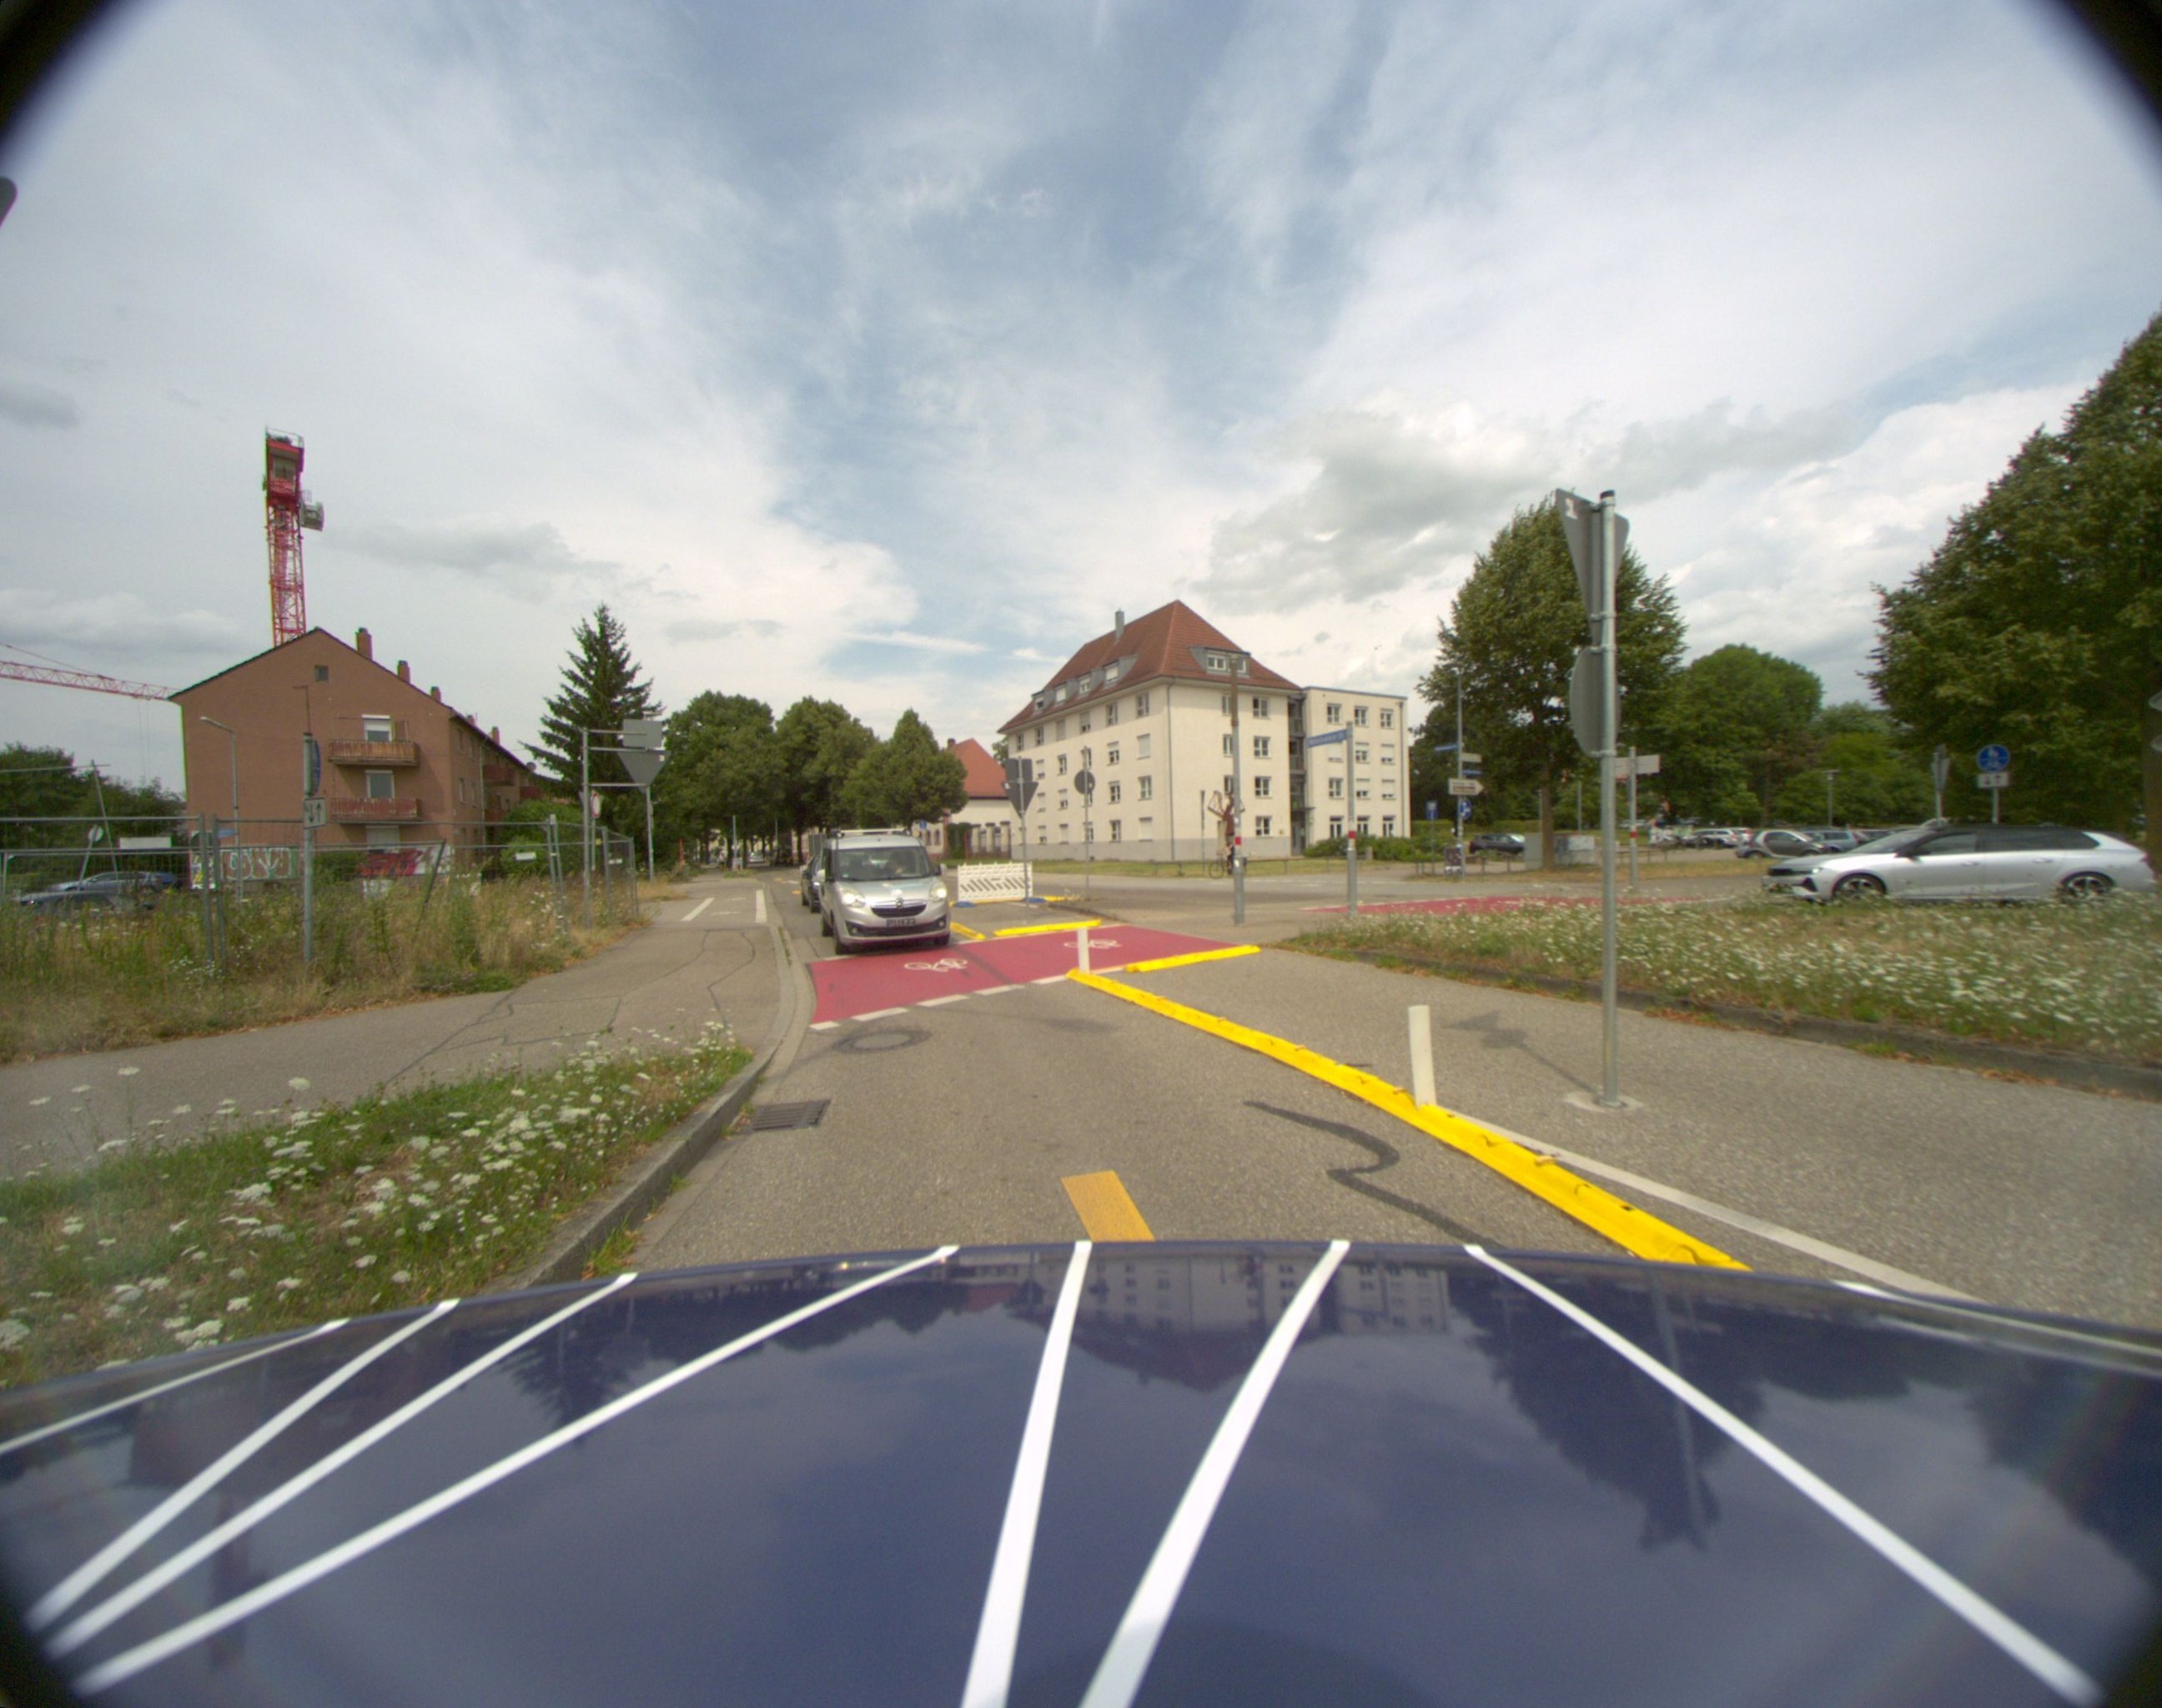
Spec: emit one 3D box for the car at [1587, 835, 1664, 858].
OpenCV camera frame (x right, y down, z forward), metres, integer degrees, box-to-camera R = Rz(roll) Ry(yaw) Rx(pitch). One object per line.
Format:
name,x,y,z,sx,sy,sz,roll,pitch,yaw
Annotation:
car,37.026,-0.496,51.760,1.617,1.460,3.997,-2,1,-31

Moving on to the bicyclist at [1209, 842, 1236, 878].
bicyclist,5.692,0.247,30.568,0.804,1.415,0.601,-2,1,-23

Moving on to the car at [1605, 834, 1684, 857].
car,38.988,-0.564,52.632,1.820,1.460,3.998,-2,1,-31

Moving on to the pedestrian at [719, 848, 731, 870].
pedestrian,-33.251,0.429,70.934,0.857,2.002,0.730,-2,1,-32

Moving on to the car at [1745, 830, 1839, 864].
car,32.817,-0.323,35.132,1.486,1.414,2.909,-1,-1,-36

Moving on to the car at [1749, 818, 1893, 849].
car,37.110,-0.995,38.274,1.836,1.463,4.877,-2,1,-29

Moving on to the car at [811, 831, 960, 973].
car,-3.519,0.645,12.990,1.813,1.936,4.575,-2,1,-22

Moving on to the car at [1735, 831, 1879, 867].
car,34.883,-0.199,36.648,1.836,1.462,4.696,-2,-1,-32

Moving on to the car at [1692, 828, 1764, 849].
car,51.680,-1.215,60.715,1.820,1.565,3.998,-2,1,-31

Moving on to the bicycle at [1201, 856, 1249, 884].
bicycle,5.810,0.621,30.617,1.831,1.040,0.601,-2,1,-23

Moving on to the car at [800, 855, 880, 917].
car,-7.021,0.830,21.843,1.820,1.495,4.861,-2,0,-21

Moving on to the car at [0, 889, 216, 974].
car,-22.669,1.674,17.365,1.768,1.465,4.252,-2,1,-16

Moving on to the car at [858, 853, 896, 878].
car,-13.775,0.738,51.157,1.631,1.510,4.209,-2,1,-27

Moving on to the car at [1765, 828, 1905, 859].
car,39.146,-0.542,39.599,1.836,1.463,4.877,-2,1,-29

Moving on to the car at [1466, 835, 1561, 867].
car,25.473,-0.166,44.890,2.003,1.754,4.489,-2,1,-31

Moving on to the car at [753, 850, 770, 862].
car,-44.743,0.260,106.279,1.804,1.613,4.737,-2,1,-27

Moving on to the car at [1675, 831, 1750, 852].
car,47.960,-0.935,57.765,1.820,1.460,3.997,-2,1,-31

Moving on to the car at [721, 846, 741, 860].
car,-67.913,-0.275,147.573,2.071,2.670,5.964,-2,1,-10

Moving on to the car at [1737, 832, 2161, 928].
car,15.217,0.430,13.384,5.172,1.474,2.003,-1,1,21

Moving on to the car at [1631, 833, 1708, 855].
car,42.293,-0.704,54.677,1.820,1.460,3.997,-2,1,-31

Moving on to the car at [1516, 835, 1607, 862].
car,30.148,-0.347,47.801,2.003,1.588,4.397,-2,1,-29

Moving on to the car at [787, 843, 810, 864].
car,-31.436,-0.081,84.426,2.002,2.260,5.149,-2,1,-24
